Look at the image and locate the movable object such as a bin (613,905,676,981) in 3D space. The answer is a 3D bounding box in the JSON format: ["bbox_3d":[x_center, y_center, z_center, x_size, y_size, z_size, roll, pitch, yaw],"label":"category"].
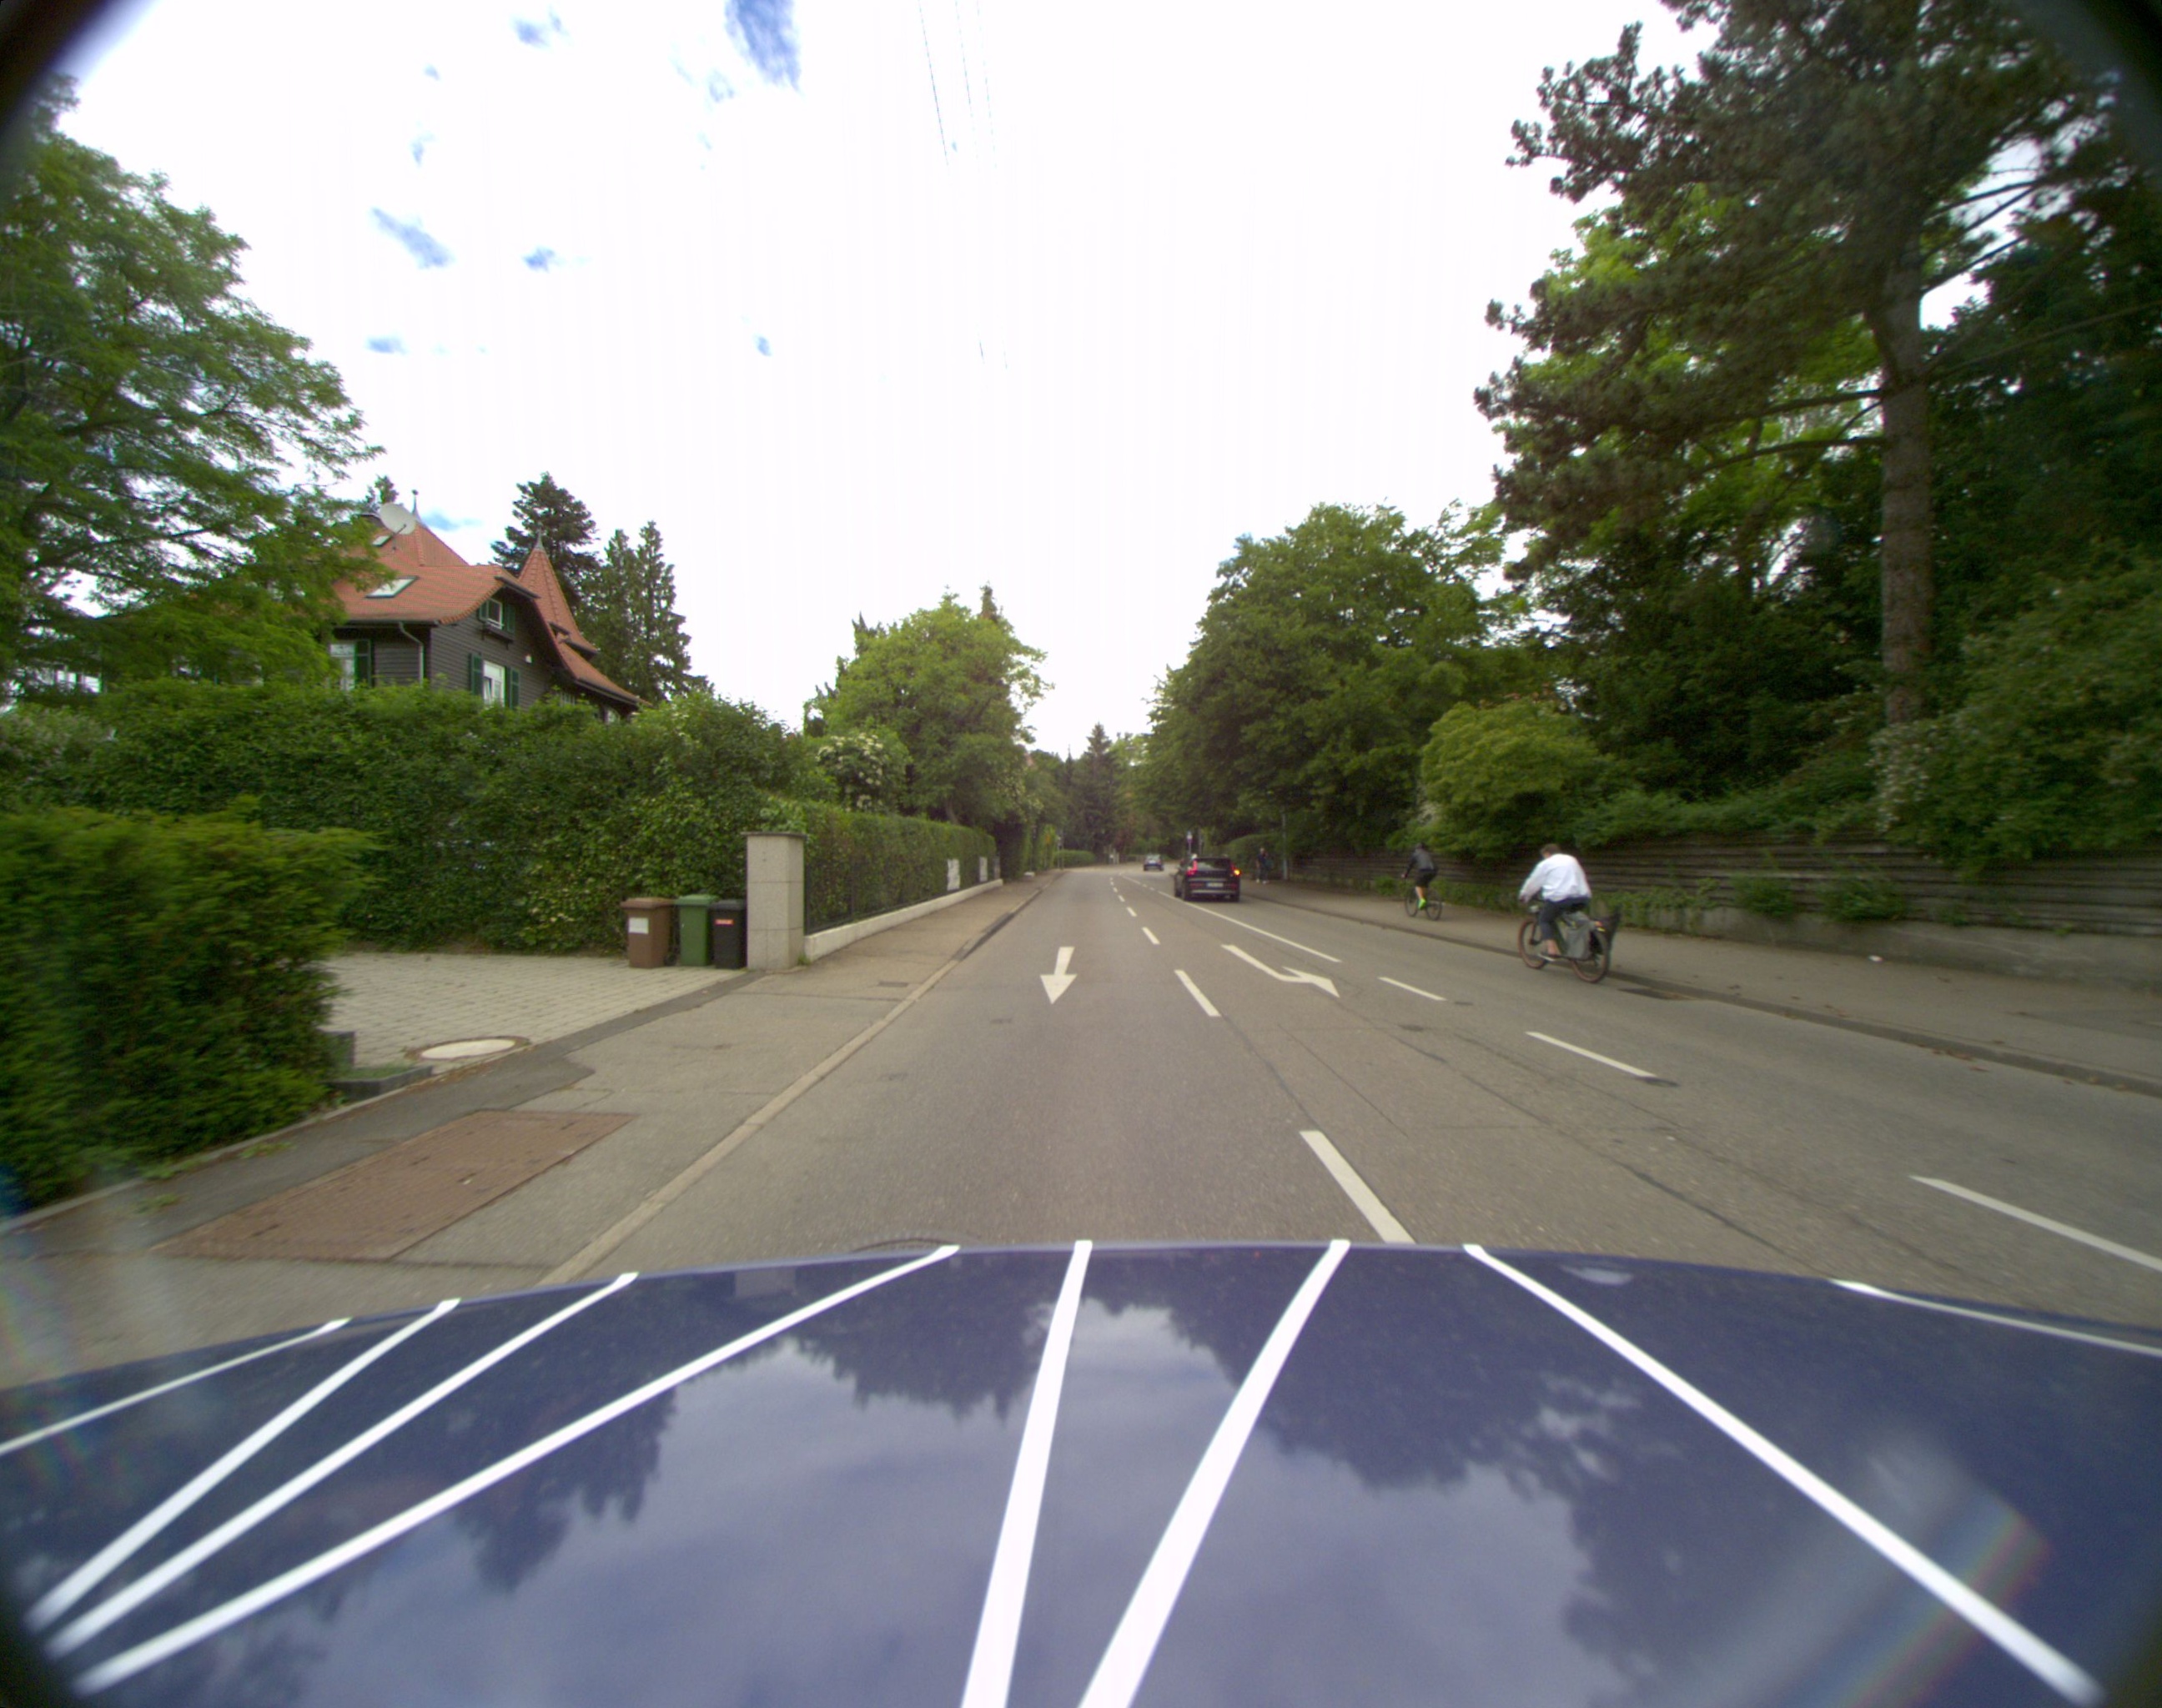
[{"bbox_3d":[-5.707,1.152,9.954,0.466,0.932,0.604,1,0,-2],"label":"movable object such as a bin"}]

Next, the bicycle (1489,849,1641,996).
[{"bbox_3d":[6.245,0.808,9.956,0.760,1.734,1.871,0,1,0],"label":"bicycle"}]

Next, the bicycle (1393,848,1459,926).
[{"bbox_3d":[7.820,0.702,17.334,0.563,1.667,1.980,-2,1,0],"label":"bicycle"}]

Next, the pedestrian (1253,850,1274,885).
[{"bbox_3d":[8.848,0.639,36.825,0.631,1.652,0.918,-2,2,-13],"label":"pedestrian"}]

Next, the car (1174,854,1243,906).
[{"bbox_3d":[4.441,0.849,26.969,1.836,1.621,4.282,0,1,2],"label":"car"}]

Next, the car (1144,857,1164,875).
[{"bbox_3d":[6.533,1.029,67.757,1.723,1.463,3.532,1,1,7],"label":"car"}]

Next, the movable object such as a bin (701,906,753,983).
[{"bbox_3d":[-4.703,1.188,10.130,0.466,0.932,0.604,-1,0,-10],"label":"movable object such as a bin"}]

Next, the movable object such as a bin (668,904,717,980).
[{"bbox_3d":[-5.244,1.171,10.270,0.467,0.932,0.604,-1,0,-17],"label":"movable object such as a bin"}]
